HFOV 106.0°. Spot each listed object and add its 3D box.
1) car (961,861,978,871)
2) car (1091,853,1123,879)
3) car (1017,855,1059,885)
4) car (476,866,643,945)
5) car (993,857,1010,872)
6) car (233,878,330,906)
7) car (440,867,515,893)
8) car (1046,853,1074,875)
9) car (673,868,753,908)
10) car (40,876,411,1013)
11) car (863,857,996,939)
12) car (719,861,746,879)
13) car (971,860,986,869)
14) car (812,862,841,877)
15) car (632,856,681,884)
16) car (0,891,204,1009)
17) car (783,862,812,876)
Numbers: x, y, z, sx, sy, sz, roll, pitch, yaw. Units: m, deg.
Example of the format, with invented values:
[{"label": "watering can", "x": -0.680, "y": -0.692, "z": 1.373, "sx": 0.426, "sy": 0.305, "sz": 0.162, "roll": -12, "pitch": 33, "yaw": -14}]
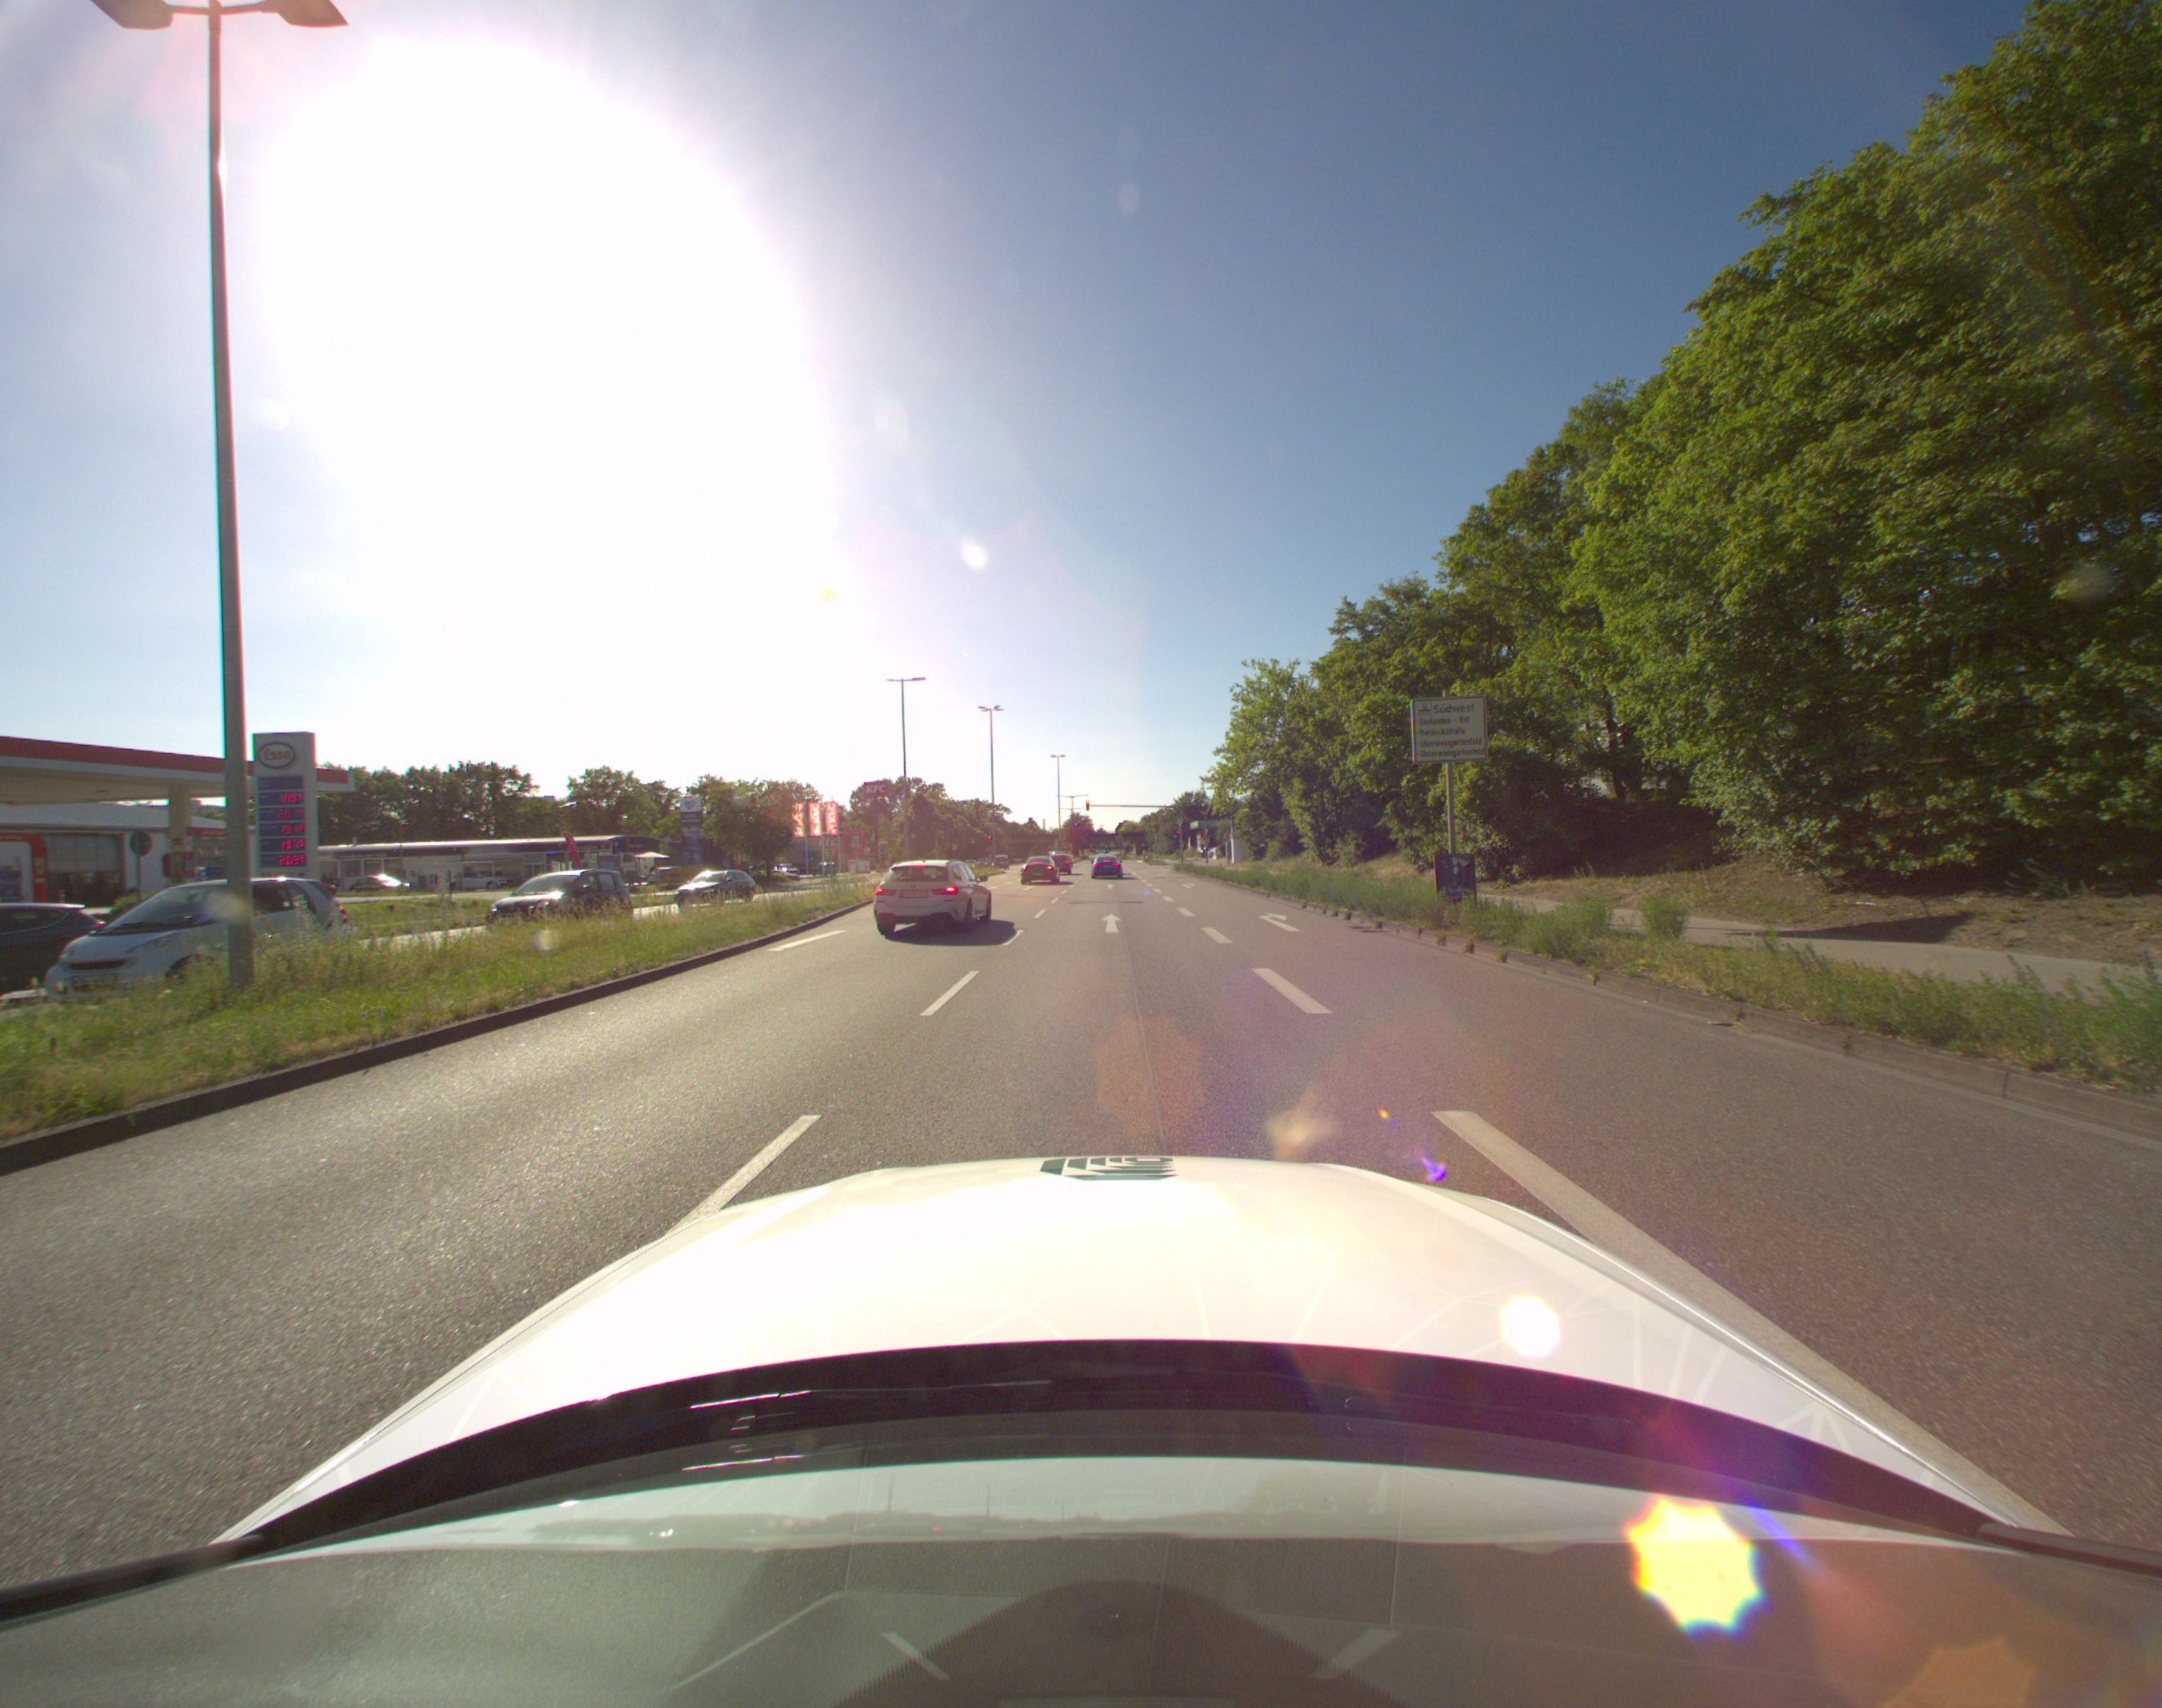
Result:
[{"label": "car", "x": -15.565, "y": 1.653, "z": 113.625, "sx": 1.697, "sy": 1.402, "sz": 3.724, "roll": -2, "pitch": 0, "yaw": 2}, {"label": "car", "x": 1.636, "y": 0.723, "z": 50.996, "sx": 1.855, "sy": 1.499, "sz": 4.338, "roll": -2, "pitch": 0, "yaw": 2}, {"label": "car", "x": -2.267, "y": 0.835, "z": 43.921, "sx": 1.855, "sy": 1.455, "sz": 4.549, "roll": -2, "pitch": 0, "yaw": 2}, {"label": "car", "x": -12.391, "y": 1.156, "z": 19.646, "sx": 1.529, "sy": 1.623, "sz": 3.673, "roll": -2, "pitch": 0, "yaw": 2}, {"label": "car", "x": -9.381, "y": 1.212, "z": 96.466, "sx": 1.529, "sy": 1.581, "sz": 3.673, "roll": -2, "pitch": 0, "yaw": 2}, {"label": "car", "x": -50.740, "y": 2.382, "z": 51.804, "sx": 1.803, "sy": 1.550, "sz": 4.297, "roll": -2, "pitch": 0, "yaw": 3}, {"label": "car", "x": -47.764, "y": 2.051, "z": 64.514, "sx": 4.371, "sy": 1.842, "sz": 1.999, "roll": -2, "pitch": 0, "yaw": -1}, {"label": "car", "x": -1.544, "y": 0.750, "z": 62.456, "sx": 1.855, "sy": 1.565, "sz": 4.549, "roll": -2, "pitch": 0, "yaw": 2}, {"label": "car", "x": -15.329, "y": 1.382, "z": 34.110, "sx": 1.529, "sy": 1.452, "sz": 3.673, "roll": -3, "pitch": 0, "yaw": 2}, {"label": "car", "x": -11.783, "y": 1.142, "z": 11.590, "sx": 1.488, "sy": 1.508, "sz": 3.488, "roll": -2, "pitch": 0, "yaw": 2}, {"label": "car", "x": -3.077, "y": 0.830, "z": 17.571, "sx": 1.855, "sy": 1.455, "sz": 4.549, "roll": -2, "pitch": 0, "yaw": 2}, {"label": "car", "x": -41.810, "y": 1.893, "z": 97.686, "sx": 1.789, "sy": 2.013, "sz": 3.747, "roll": -2, "pitch": 0, "yaw": -43}, {"label": "car", "x": -15.940, "y": 1.649, "z": 126.812, "sx": 1.697, "sy": 1.402, "sz": 3.724, "roll": -2, "pitch": 0, "yaw": 2}, {"label": "car", "x": -32.187, "y": 1.932, "z": 102.788, "sx": 1.938, "sy": 1.783, "sz": 4.037, "roll": -2, "pitch": 0, "yaw": -42}, {"label": "car", "x": -35.105, "y": 1.266, "z": 67.462, "sx": 1.812, "sy": 2.209, "sz": 4.001, "roll": -2, "pitch": 0, "yaw": 1}, {"label": "car", "x": -15.808, "y": 1.434, "z": 12.188, "sx": 1.505, "sy": 1.536, "sz": 3.432, "roll": -3, "pitch": 0, "yaw": 2}, {"label": "car", "x": -38.742, "y": 2.095, "z": 111.185, "sx": 4.035, "sy": 1.783, "sz": 1.939, "roll": -2, "pitch": 0, "yaw": 42}]
